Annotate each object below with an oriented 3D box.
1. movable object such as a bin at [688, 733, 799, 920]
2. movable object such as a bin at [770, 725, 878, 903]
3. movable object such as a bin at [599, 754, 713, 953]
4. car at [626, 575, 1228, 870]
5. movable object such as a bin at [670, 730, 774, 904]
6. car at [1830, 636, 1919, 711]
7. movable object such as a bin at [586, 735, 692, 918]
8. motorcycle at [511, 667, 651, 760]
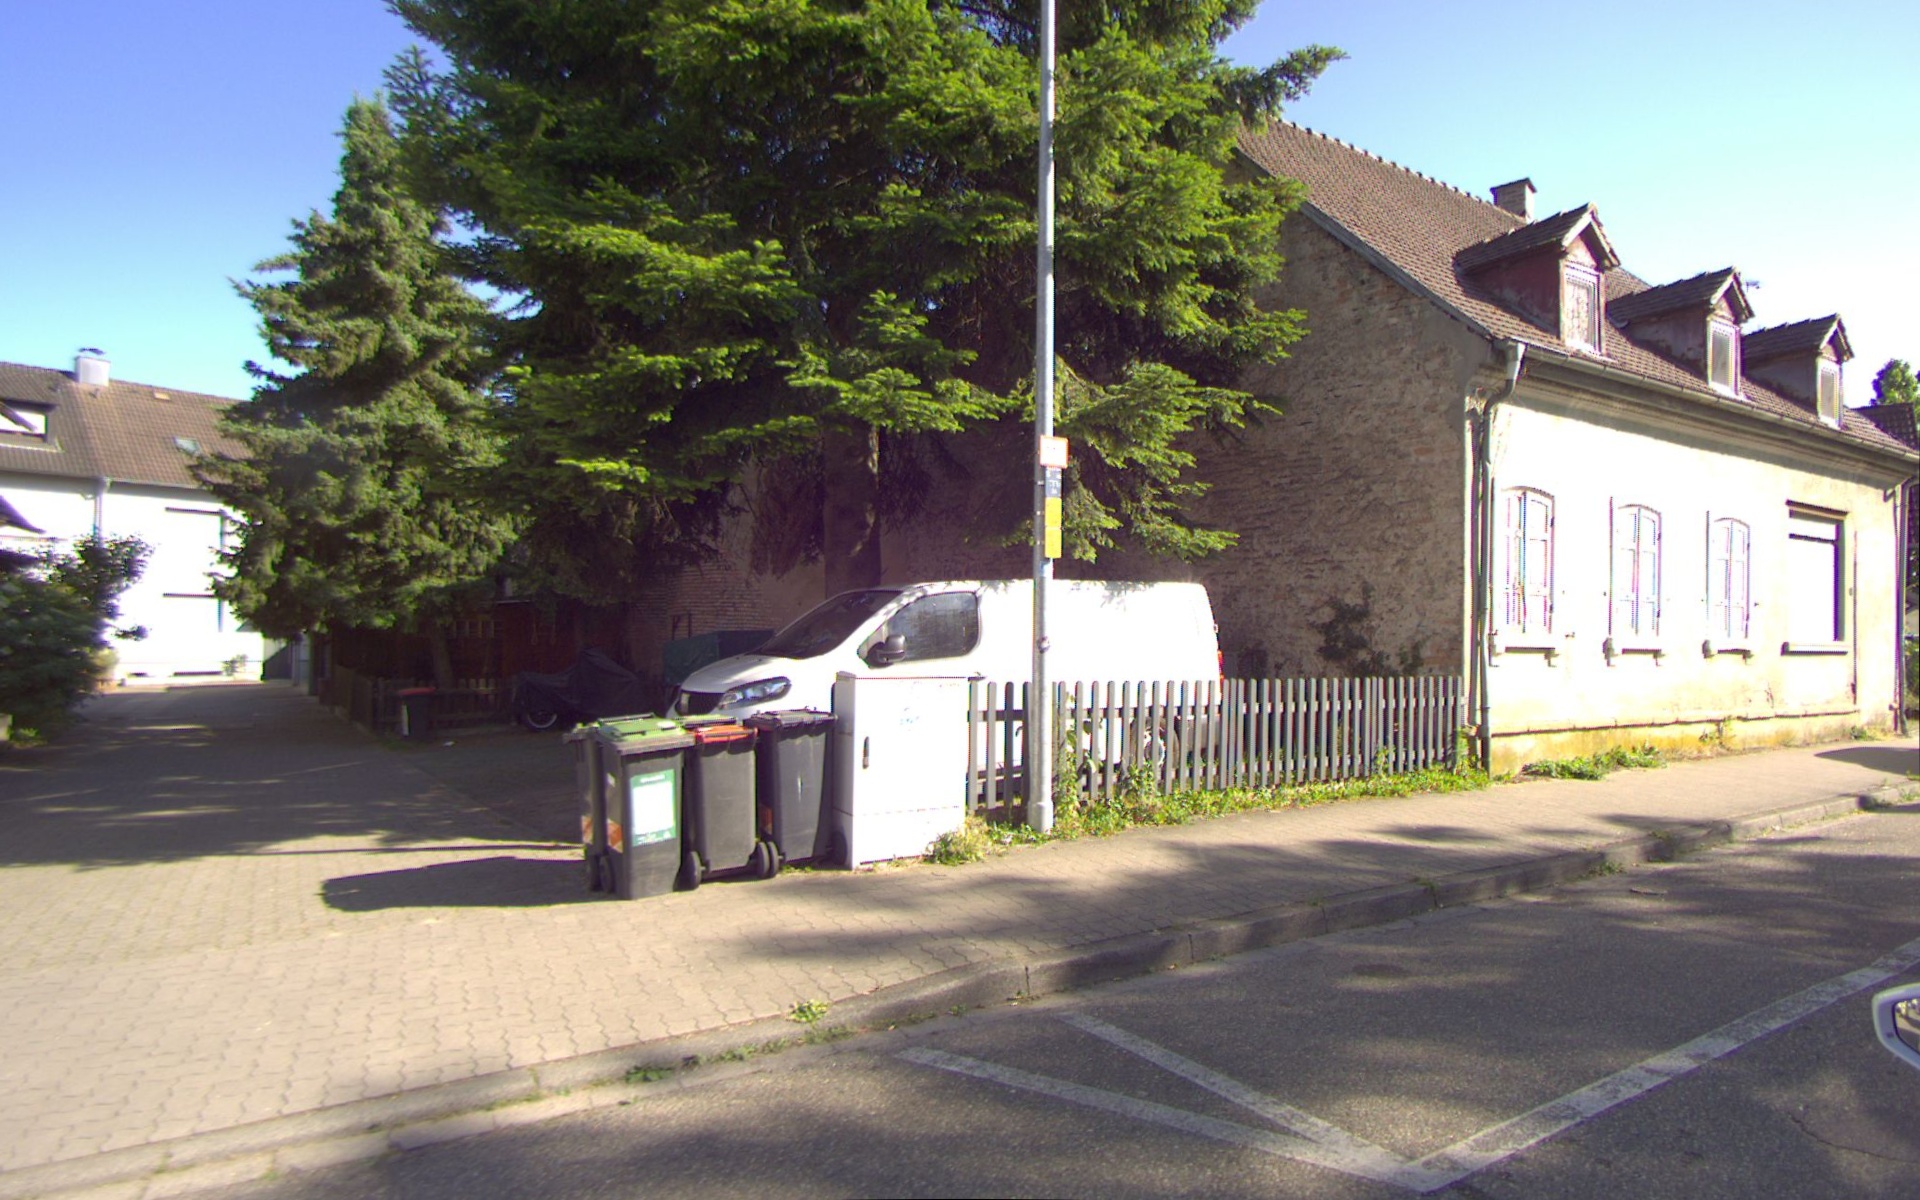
[{"bbox_3d":[-1.244,1.267,5.744,0.485,0.936,0.426,-2,-2,-30],"label":"movable object such as a bin"},{"bbox_3d":[-0.815,1.251,6.004,0.485,0.936,0.418,-2,-2,-30],"label":"movable object such as a bin"},{"bbox_3d":[-1.666,1.353,5.490,0.485,0.936,0.438,-2,-2,-30],"label":"movable object such as a bin"},{"bbox_3d":[-0.149,0.902,8.948,5.084,1.981,1.930,1,-3,-32],"label":"car"},{"bbox_3d":[-1.454,1.296,6.122,0.485,0.936,0.418,-2,-2,-30],"label":"movable object such as a bin"},{"bbox_3d":[23.523,1.724,23.925,4.143,1.755,1.822,-5,-5,42],"label":"car"},{"bbox_3d":[-1.882,1.296,5.876,0.485,0.936,0.418,-2,-2,-30],"label":"movable object such as a bin"},{"bbox_3d":[-6.411,1.881,17.032,2.118,1.371,0.591,-2,-2,-31],"label":"motorcycle"}]
